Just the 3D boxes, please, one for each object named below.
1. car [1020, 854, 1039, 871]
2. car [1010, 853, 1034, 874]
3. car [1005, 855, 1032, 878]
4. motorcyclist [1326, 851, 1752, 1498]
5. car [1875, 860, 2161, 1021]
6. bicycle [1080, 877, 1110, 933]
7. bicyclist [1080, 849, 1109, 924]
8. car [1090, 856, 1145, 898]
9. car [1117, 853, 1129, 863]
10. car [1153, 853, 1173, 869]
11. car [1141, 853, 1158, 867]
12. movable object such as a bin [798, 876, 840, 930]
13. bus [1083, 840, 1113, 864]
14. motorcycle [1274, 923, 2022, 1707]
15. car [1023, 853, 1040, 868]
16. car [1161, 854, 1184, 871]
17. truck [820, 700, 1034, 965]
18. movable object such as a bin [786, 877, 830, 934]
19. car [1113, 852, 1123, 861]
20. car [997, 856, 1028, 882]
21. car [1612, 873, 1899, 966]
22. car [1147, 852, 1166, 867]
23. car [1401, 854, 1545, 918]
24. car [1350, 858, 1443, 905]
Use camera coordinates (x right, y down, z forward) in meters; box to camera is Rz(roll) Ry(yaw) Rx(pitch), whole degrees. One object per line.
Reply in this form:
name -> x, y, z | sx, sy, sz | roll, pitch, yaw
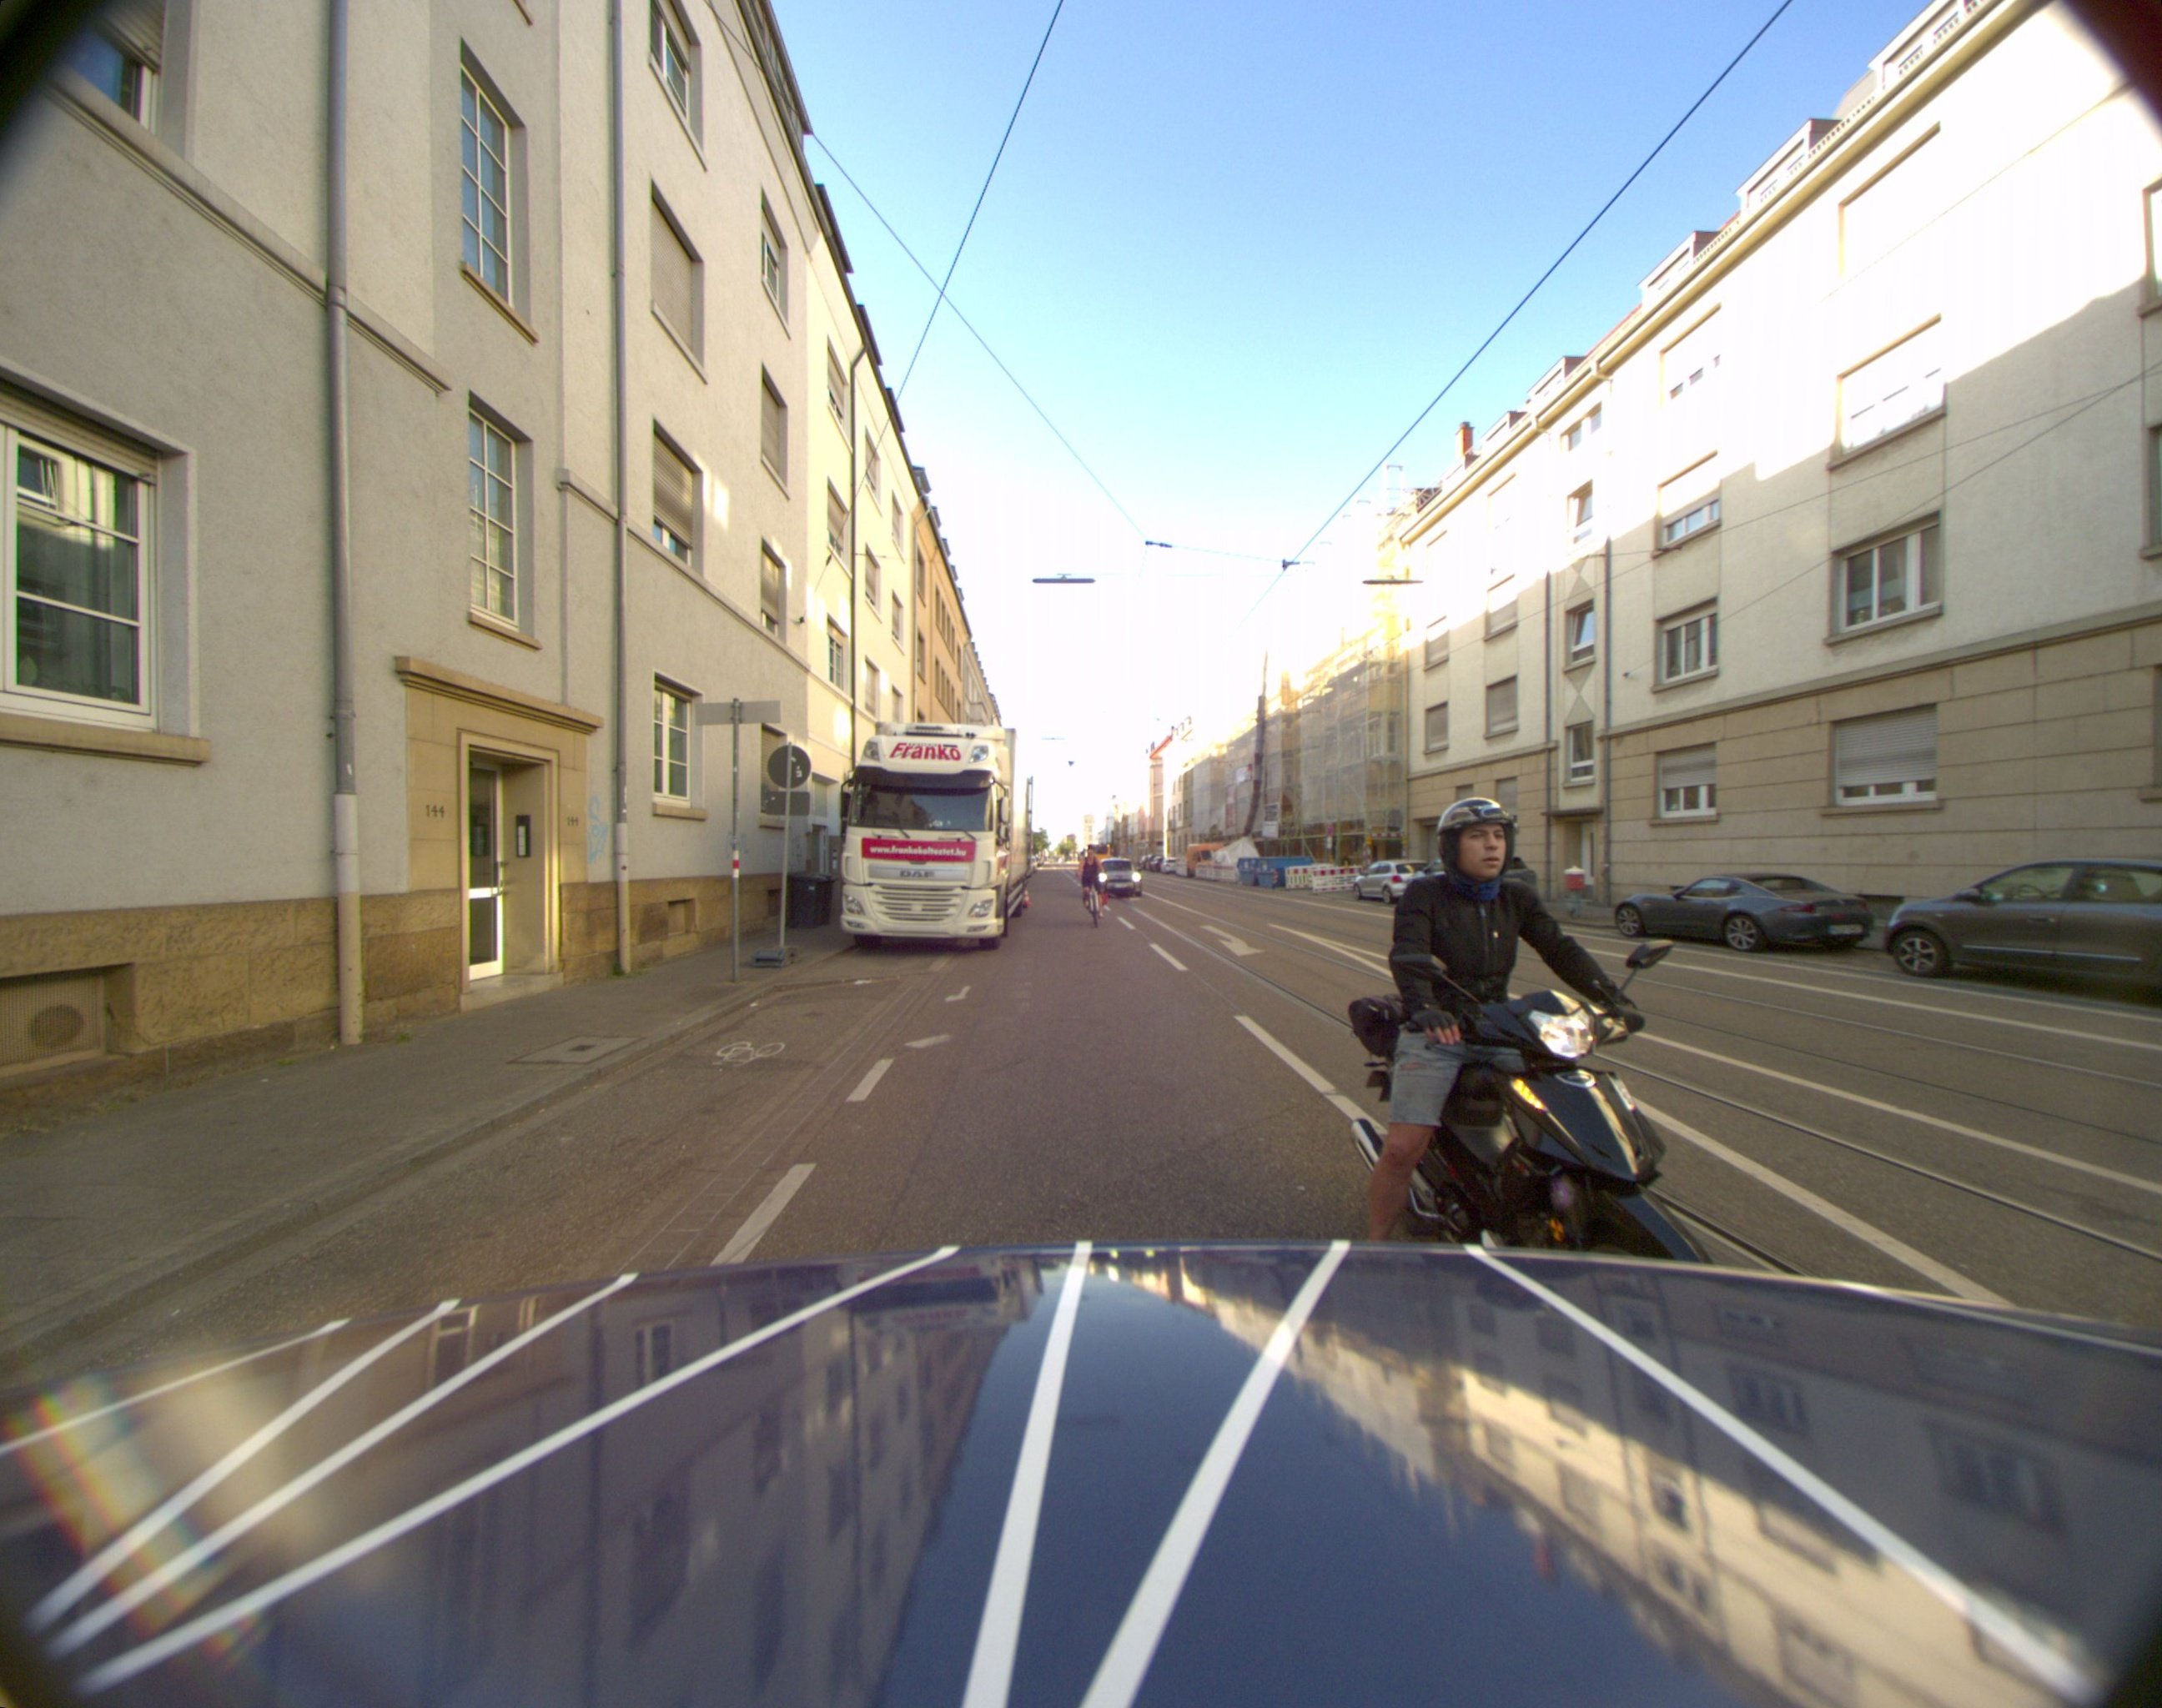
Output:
car -> -4.872, 0.749, 72.083 | 1.685, 1.522, 4.148 | -2, 0, -3
car -> -4.524, 0.746, 59.143 | 1.685, 1.522, 4.148 | -2, 0, -3
car -> -4.315, 0.829, 52.975 | 1.685, 1.522, 4.148 | -2, 0, -3
motorcyclist -> 1.304, 0.816, 2.377 | 0.791, 1.645, 0.900 | 0, 1, 1
car -> 11.411, 0.860, 8.307 | 1.679, 1.519, 3.539 | -1, 0, -3
bicycle -> 0.299, 1.094, 16.675 | 0.618, 1.097, 1.886 | 0, 0, 0
bicyclist -> 0.299, 0.699, 16.686 | 0.618, 1.620, 0.760 | 0, 1, 0
car -> 1.351, 0.846, 29.558 | 1.685, 1.454, 4.148 | -2, 0, -3
car -> 6.576, 0.626, 118.622 | 1.684, 1.478, 3.966 | -2, 0, 1
car -> 8.250, 0.707, 76.797 | 1.684, 1.478, 3.966 | -2, 0, 1
car -> 7.916, 0.656, 87.867 | 1.684, 1.478, 3.966 | -2, 0, 1
movable object such as a bin -> -5.406, 0.998, 15.694 | 0.666, 1.087, 0.570 | 0, 1, -2
bus -> 2.189, -0.232, 106.883 | 2.755, 3.095, 19.156 | 0, 0, -3
motorcycle -> 1.305, 0.972, 2.506 | 0.791, 1.284, 2.273 | 0, 0, 1
car -> -5.367, 0.650, 82.729 | 1.685, 1.522, 4.148 | -2, 0, -3
car -> 8.556, 0.762, 71.100 | 1.684, 1.478, 3.966 | -2, 0, 1
truck -> -2.633, -0.321, 17.166 | 2.782, 3.903, 11.816 | 0, 0, -2
movable object such as a bin -> -5.390, 1.006, 15.025 | 0.666, 1.087, 0.570 | 0, 1, -2
car -> 6.506, 0.469, 134.388 | 1.684, 1.478, 3.966 | -2, 0, 1
car -> -4.187, 0.897, 47.173 | 1.685, 1.522, 4.148 | -2, 0, -3
car -> 11.174, 1.001, 12.969 | 1.520, 1.227, 3.685 | -1, 0, -3
car -> 8.228, 0.618, 83.171 | 1.684, 1.573, 3.966 | -2, 0, 1
car -> 10.803, 0.806, 21.319 | 1.696, 1.590, 4.206 | -1, 0, -3
car -> 10.602, 0.882, 25.767 | 1.543, 1.404, 3.510 | -1, 0, -3
